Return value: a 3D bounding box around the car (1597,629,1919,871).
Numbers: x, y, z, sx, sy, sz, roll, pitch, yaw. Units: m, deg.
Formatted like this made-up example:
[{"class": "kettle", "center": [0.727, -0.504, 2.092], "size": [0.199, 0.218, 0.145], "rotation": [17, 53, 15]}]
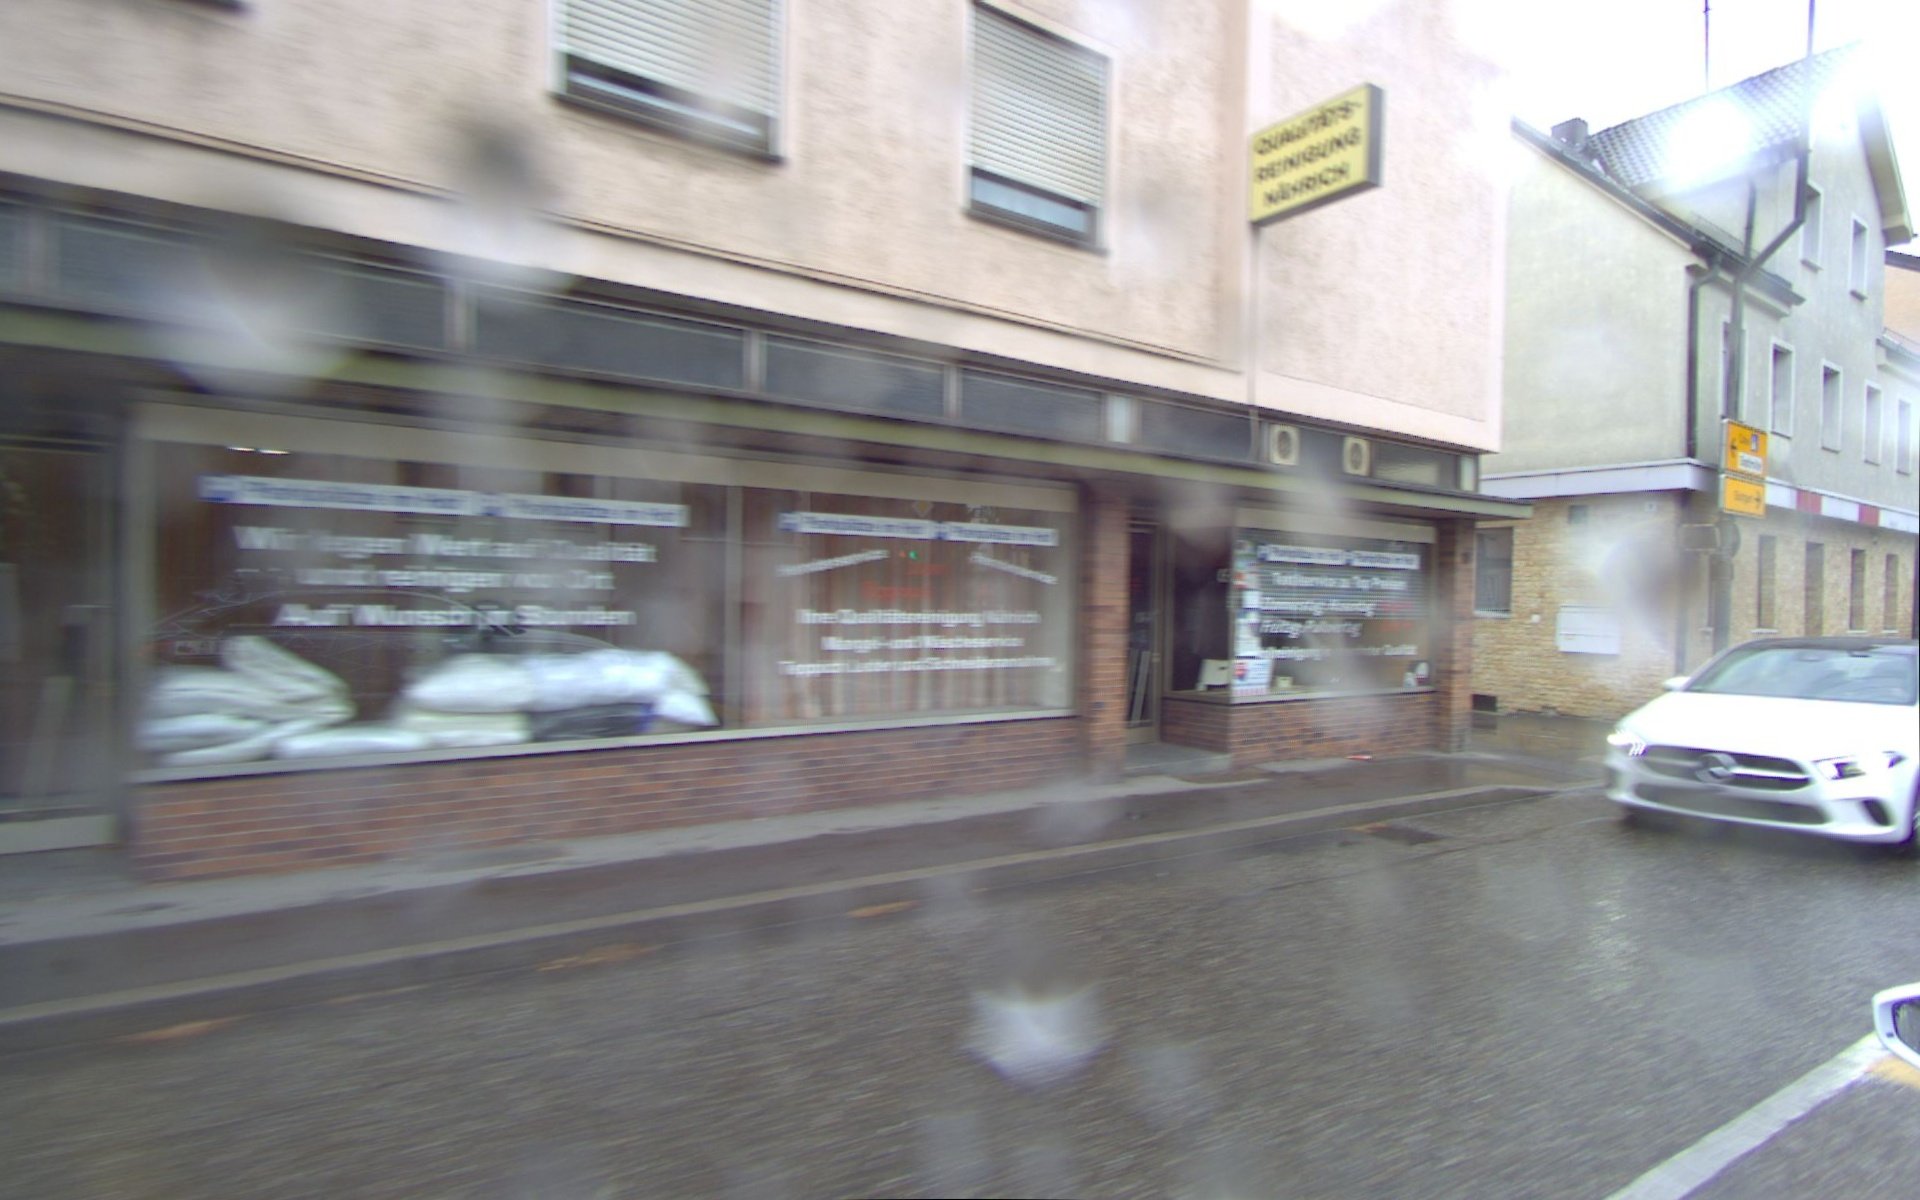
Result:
[{"class": "car", "center": [6.877, 0.958, 7.891], "size": [4.070, 1.391, 1.680], "rotation": [1, 0, -34]}]
